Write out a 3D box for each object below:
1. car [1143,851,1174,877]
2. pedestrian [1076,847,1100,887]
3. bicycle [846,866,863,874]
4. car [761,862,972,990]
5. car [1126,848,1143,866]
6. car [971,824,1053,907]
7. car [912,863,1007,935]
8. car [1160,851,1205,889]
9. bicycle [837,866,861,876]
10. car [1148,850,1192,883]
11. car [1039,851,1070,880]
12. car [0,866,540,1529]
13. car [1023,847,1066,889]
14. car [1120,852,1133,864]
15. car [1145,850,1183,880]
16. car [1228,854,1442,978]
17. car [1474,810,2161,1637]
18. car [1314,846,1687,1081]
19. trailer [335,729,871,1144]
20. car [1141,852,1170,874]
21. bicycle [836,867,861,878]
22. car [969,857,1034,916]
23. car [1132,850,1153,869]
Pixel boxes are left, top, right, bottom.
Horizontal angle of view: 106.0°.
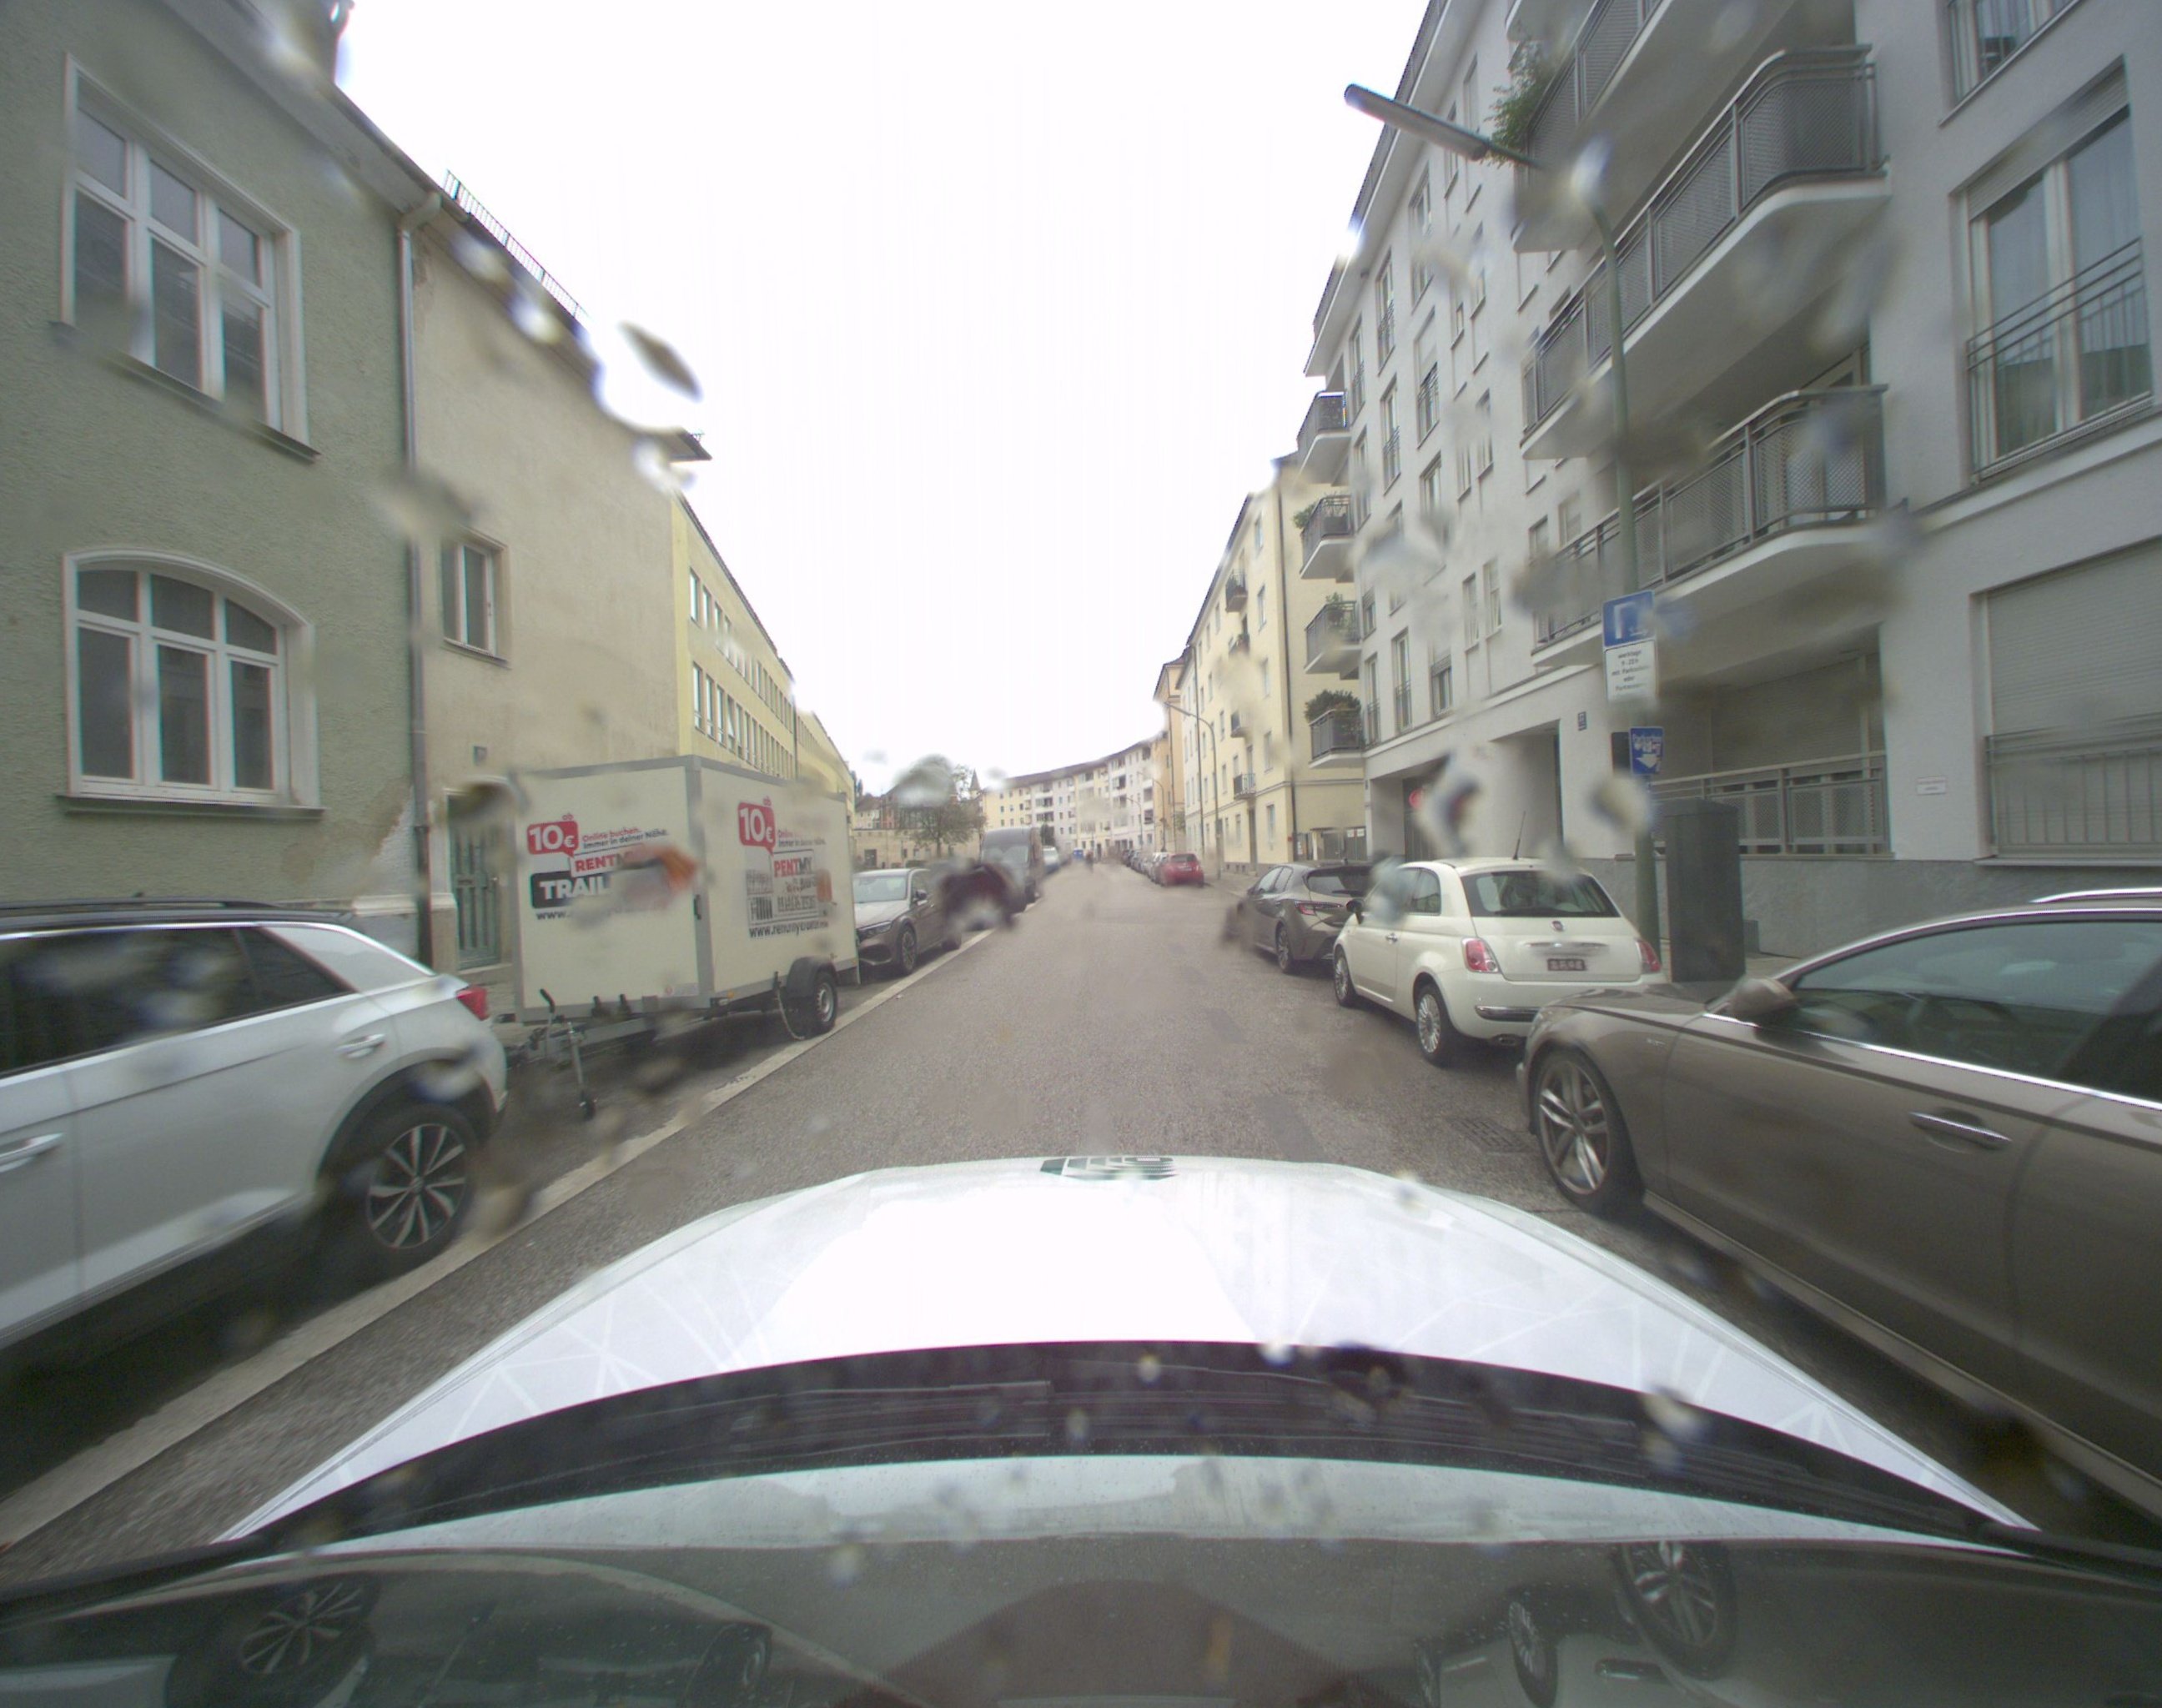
[{"bbox_3d":[4.859,0.590,51.469,1.594,1.491,3.798,-2,1,0],"label":"car"},{"bbox_3d":[0.322,0.565,36.014,0.664,1.728,0.801,-2,-2,37],"label":"pedestrian"},{"bbox_3d":[-24.180,1.707,87.061,1.741,0.714,0.611,-2,-1,-17],"label":"bicycle"},{"bbox_3d":[-3.148,0.974,13.033,1.758,1.538,4.546,-4,-1,4],"label":"car"},{"bbox_3d":[5.298,0.277,80.924,1.469,1.641,4.001,-1,0,1],"label":"car"},{"bbox_3d":[-2.364,0.339,29.398,2.079,2.636,5.382,-2,0,3],"label":"car"},{"bbox_3d":[-2.809,0.997,19.590,1.695,1.445,3.824,-2,1,0],"label":"car"},{"bbox_3d":[4.390,0.661,35.738,1.589,1.509,3.803,-2,0,2],"label":"car"},{"bbox_3d":[-21.921,1.637,76.916,2.124,0.835,0.644,-2,-1,-17],"label":"bicycle"},{"bbox_3d":[4.423,0.631,40.985,1.686,1.491,4.343,-3,-1,1],"label":"car"},{"bbox_3d":[-1.679,0.712,52.715,1.696,1.691,4.028,-4,0,1],"label":"car"},{"bbox_3d":[-3.559,0.926,1.989,1.681,1.603,3.922,-4,0,1],"label":"car"},{"bbox_3d":[-1.852,0.664,42.392,1.876,1.931,4.600,-4,0,0],"label":"car"},{"bbox_3d":[5.213,0.445,93.049,1.268,1.299,2.797,-2,0,0],"label":"car"},{"bbox_3d":[4.681,0.583,46.490,1.686,1.491,4.283,-3,1,1],"label":"car"},{"bbox_3d":[3.398,0.756,11.749,1.758,1.408,4.077,-2,-1,-1],"label":"car"},{"bbox_3d":[2.870,0.685,1.918,1.728,1.530,4.622,0,0,1],"label":"car"},{"bbox_3d":[3.274,0.725,7.148,1.514,1.530,3.527,-1,0,1],"label":"car"},{"bbox_3d":[-3.551,0.510,7.232,1.701,2.461,4.393,-4,0,5],"label":"trailer"},{"bbox_3d":[5.167,0.610,56.587,1.686,1.432,3.945,-1,-1,1],"label":"car"},{"bbox_3d":[-21.737,1.734,76.251,2.211,0.835,0.492,-2,-1,-17],"label":"bicycle"},{"bbox_3d":[-2.293,0.901,24.204,1.581,1.538,3.542,-3,0,-1],"label":"car"},{"bbox_3d":[5.321,0.474,70.939,1.585,1.582,4.299,-1,0,1],"label":"car"}]
